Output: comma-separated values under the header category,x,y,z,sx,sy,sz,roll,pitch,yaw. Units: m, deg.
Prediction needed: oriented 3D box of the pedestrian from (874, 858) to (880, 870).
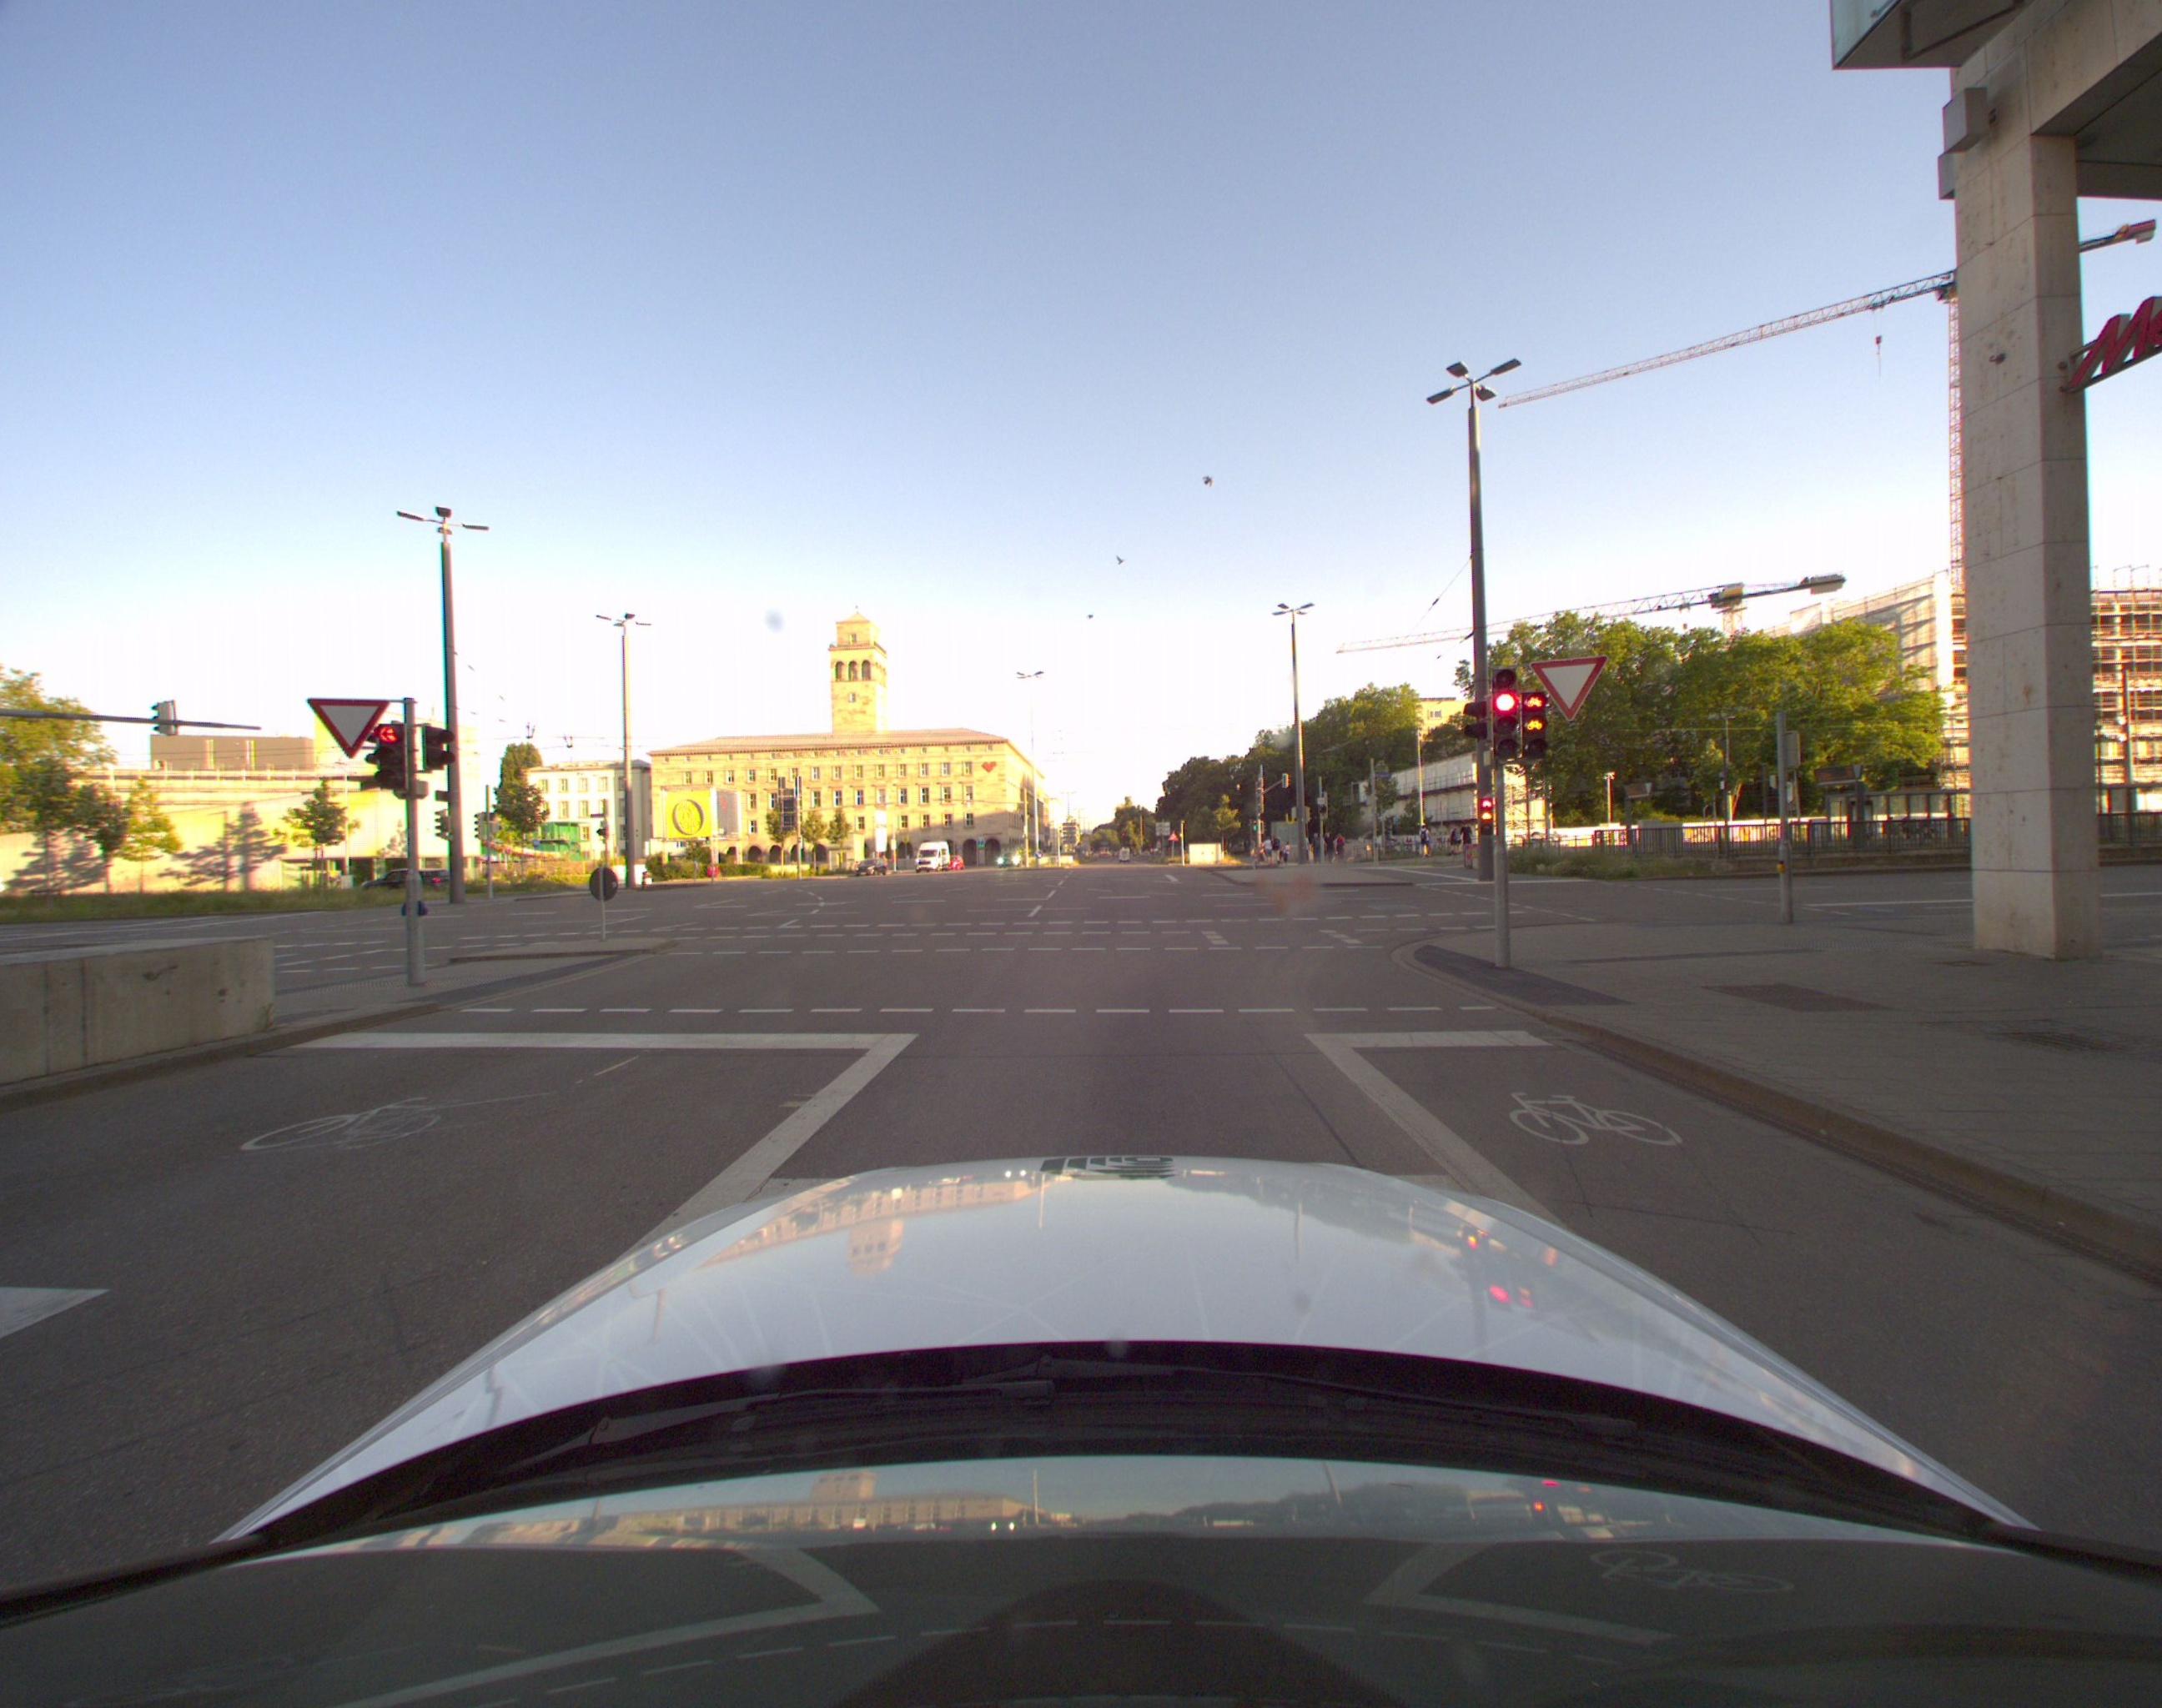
category,x,y,z,sx,sy,sz,roll,pitch,yaw
pedestrian,-21.558,1.081,85.953,0.504,1.300,0.700,0,-1,-3

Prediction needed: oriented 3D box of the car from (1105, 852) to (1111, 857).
category,x,y,z,sx,sy,sz,roll,pitch,yaw
car,7.854,0.094,235.212,1.366,1.234,3.042,-2,1,-3

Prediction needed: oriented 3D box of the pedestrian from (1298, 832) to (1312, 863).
category,x,y,z,sx,sy,sz,roll,pitch,yaw
pedestrian,12.860,-0.385,46.743,0.705,1.725,0.919,-2,1,16

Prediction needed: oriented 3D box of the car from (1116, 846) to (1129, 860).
category,x,y,z,sx,sy,sz,roll,pitch,yaw
car,5.231,-0.112,102.509,1.479,1.696,2.973,-2,0,-1

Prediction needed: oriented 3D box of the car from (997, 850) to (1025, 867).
category,x,y,z,sx,sy,sz,roll,pitch,yaw
car,-6.223,0.373,72.979,1.815,1.341,4.005,-2,1,4

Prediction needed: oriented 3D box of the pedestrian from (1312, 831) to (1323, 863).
category,x,y,z,sx,sy,sz,roll,pitch,yaw
pedestrian,13.357,-0.410,45.988,0.568,1.791,0.641,-2,1,16

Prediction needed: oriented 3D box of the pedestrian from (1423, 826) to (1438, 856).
category,x,y,z,sx,sy,sz,roll,pitch,yaw
pedestrian,19.057,-0.725,44.371,0.569,1.592,0.537,-2,0,1

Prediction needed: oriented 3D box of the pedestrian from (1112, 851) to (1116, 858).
category,x,y,z,sx,sy,sz,roll,pitch,yaw
pedestrian,7.968,0.207,194.579,0.903,1.671,1.307,-2,1,1

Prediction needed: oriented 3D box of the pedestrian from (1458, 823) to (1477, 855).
category,x,y,z,sx,sy,sz,roll,pitch,yaw
pedestrian,21.262,-0.839,44.858,0.708,1.725,0.669,-2,0,3

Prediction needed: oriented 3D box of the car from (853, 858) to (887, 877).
category,x,y,z,sx,sy,sz,roll,pitch,yaw
car,-18.341,1.130,70.897,1.817,1.466,4.158,-2,1,0

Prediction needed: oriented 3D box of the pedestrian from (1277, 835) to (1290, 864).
category,x,y,z,sx,sy,sz,roll,pitch,yaw
pedestrian,12.234,-0.259,49.175,0.705,1.725,0.671,-2,1,15

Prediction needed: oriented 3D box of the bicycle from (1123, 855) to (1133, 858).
category,x,y,z,sx,sy,sz,roll,pitch,yaw
bicycle,13.022,0.666,224.533,2.603,0.959,0.512,0,-1,-12

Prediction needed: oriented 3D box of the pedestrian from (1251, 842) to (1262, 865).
category,x,y,z,sx,sy,sz,roll,pitch,yaw
pedestrian,13.065,-0.042,60.568,0.555,1.654,0.907,-2,1,22

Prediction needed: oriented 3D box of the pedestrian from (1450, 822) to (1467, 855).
category,x,y,z,sx,sy,sz,roll,pitch,yaw
pedestrian,19.919,-0.807,43.024,0.705,1.725,0.672,-2,0,19

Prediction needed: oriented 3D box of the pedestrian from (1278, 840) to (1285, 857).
category,x,y,z,sx,sy,sz,roll,pitch,yaw
pedestrian,21.321,-0.605,86.669,0.662,1.842,0.714,-2,1,7

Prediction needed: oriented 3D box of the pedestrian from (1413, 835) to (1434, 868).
category,x,y,z,sx,sy,sz,roll,pitch,yaw
pedestrian,17.993,-0.139,42.783,0.671,1.725,0.706,-2,0,-32

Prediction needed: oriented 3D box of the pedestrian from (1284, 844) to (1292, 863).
category,x,y,z,sx,sy,sz,roll,pitch,yaw
pedestrian,15.528,-0.042,61.115,0.568,1.437,0.641,-2,1,13

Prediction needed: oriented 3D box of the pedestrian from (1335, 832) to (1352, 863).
category,x,y,z,sx,sy,sz,roll,pitch,yaw
pedestrian,14.841,-0.375,46.111,0.838,1.734,0.708,-2,1,14

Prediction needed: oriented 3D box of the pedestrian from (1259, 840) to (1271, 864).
category,x,y,z,sx,sy,sz,roll,pitch,yaw
pedestrian,13.653,-0.142,60.325,0.673,1.757,0.907,-2,1,22

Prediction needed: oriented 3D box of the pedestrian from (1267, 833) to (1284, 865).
category,x,y,z,sx,sy,sz,roll,pitch,yaw
pedestrian,10.651,-0.285,44.660,0.708,1.725,0.915,-2,1,1

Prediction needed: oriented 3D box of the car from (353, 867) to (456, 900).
category,x,y,z,sx,sy,sz,roll,pitch,yaw
car,-37.745,1.612,45.532,4.114,1.604,1.741,-2,0,-6

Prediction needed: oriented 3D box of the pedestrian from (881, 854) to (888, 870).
category,x,y,z,sx,sy,sz,roll,pitch,yaw
pedestrian,-20.927,0.878,86.671,0.620,1.744,0.459,0,-1,-4

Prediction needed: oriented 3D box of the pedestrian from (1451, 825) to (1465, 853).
category,x,y,z,sx,sy,sz,roll,pitch,yaw
pedestrian,20.234,-0.795,43.721,0.670,1.441,0.718,-2,0,24

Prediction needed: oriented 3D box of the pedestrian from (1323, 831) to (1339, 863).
category,x,y,z,sx,sy,sz,roll,pitch,yaw
pedestrian,14.029,-0.400,45.768,0.799,1.791,0.804,-2,1,16

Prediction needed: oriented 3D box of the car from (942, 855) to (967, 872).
category,x,y,z,sx,sy,sz,roll,pitch,yaw
car,-12.637,0.936,81.671,1.732,1.487,4.002,-2,1,2

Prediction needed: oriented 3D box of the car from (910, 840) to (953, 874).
category,x,y,z,sx,sy,sz,roll,pitch,yaw
car,-13.290,0.221,72.984,2.269,2.776,6.090,-2,0,4

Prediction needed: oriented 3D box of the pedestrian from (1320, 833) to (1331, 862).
category,x,y,z,sx,sy,sz,roll,pitch,yaw
pedestrian,14.205,-0.372,47.249,0.568,1.678,0.641,-2,1,16

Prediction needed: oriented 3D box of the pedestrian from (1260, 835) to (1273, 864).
category,x,y,z,sx,sy,sz,roll,pitch,yaw
pedestrian,11.229,-0.251,49.276,0.705,1.725,0.671,-2,1,16
